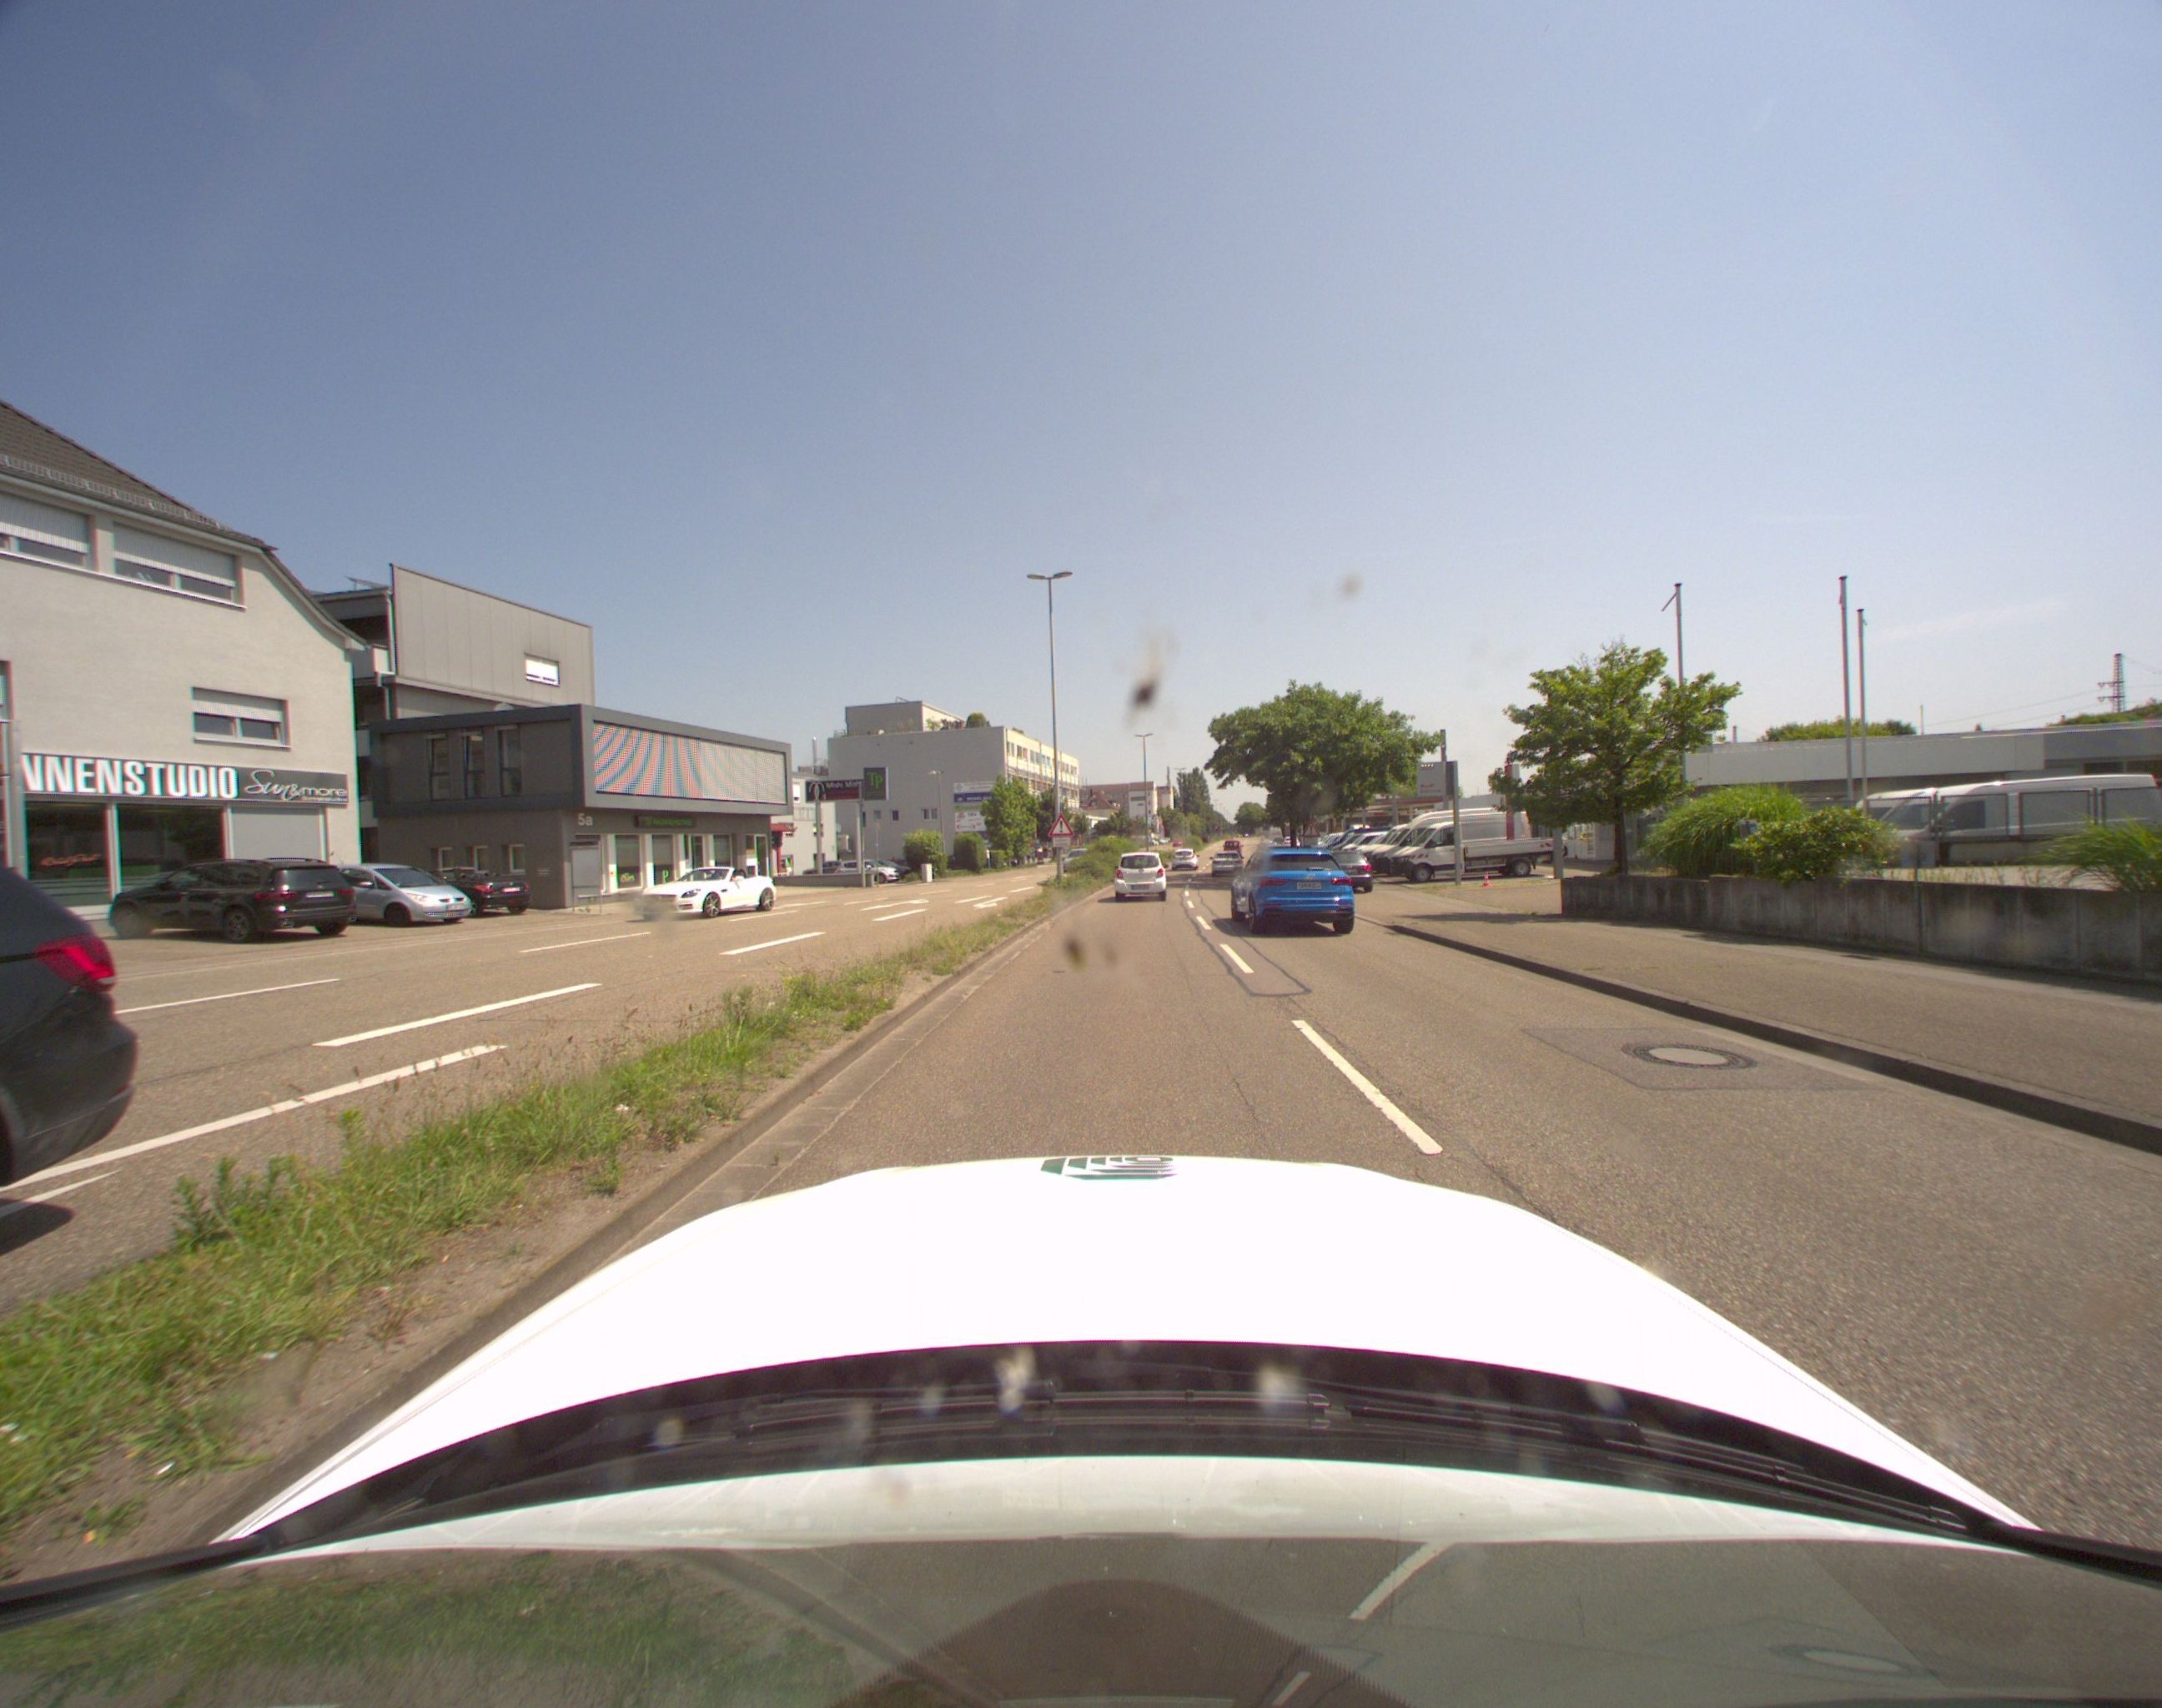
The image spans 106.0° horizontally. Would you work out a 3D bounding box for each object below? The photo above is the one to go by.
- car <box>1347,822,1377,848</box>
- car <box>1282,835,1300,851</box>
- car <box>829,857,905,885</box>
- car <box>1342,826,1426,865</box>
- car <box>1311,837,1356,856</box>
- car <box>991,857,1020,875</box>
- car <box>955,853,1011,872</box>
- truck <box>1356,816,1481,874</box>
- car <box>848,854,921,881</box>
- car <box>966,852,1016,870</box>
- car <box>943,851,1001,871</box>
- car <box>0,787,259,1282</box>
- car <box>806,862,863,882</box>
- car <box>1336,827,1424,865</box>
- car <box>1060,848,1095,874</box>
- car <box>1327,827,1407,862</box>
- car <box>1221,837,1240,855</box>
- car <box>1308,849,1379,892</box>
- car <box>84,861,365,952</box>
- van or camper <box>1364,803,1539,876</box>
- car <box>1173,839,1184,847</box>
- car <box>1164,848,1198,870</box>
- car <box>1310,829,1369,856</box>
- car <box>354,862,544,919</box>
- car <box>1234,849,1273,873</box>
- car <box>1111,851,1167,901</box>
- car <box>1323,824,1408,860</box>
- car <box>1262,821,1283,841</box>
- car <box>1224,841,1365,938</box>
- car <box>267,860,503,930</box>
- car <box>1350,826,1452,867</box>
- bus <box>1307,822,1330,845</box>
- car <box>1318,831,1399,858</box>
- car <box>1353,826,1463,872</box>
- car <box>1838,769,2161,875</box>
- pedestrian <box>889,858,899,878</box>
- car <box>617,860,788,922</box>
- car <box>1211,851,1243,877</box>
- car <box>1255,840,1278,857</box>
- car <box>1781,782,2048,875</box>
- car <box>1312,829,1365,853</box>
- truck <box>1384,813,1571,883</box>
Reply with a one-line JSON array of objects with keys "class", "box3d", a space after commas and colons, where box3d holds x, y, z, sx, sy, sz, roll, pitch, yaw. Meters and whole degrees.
[{"class": "car", "box3d": [31.657, -2.185, 91.852, 2.241, 2.675, 7.041, -3, 1, 12]}, {"class": "car", "box3d": [23.952, -1.267, 93.122, 1.656, 1.596, 4.628, -3, 1, 11]}, {"class": "car", "box3d": [-12.627, 1.003, 48.140, 3.967, 1.459, 1.578, -2, -1, 6]}, {"class": "car", "box3d": [18.737, -0.495, 50.588, 4.479, 2.013, 2.205, -5, -1, 12]}, {"class": "car", "box3d": [21.474, -0.658, 69.433, 3.602, 1.570, 1.724, -1, 1, 16]}, {"class": "car", "box3d": [-7.320, 1.132, 79.440, 1.649, 1.467, 3.810, -4, 1, 11]}, {"class": "car", "box3d": [-8.200, 0.712, 68.407, 4.197, 1.349, 1.986, -3, 1, 10]}, {"class": "truck", "box3d": [16.308, -0.441, 39.661, 5.211, 2.435, 2.119, -3, 0, 12]}, {"class": "car", "box3d": [-12.263, 0.812, 50.880, 3.969, 1.371, 1.675, -4, 1, 13]}, {"class": "car", "box3d": [-7.804, 0.599, 70.878, 3.814, 1.333, 1.865, -3, 1, 10]}, {"class": "car", "box3d": [-8.723, 0.540, 65.629, 4.124, 1.342, 2.048, -3, 1, 8]}, {"class": "car", "box3d": [-4.943, 0.631, 1.417, 1.899, 1.751, 4.767, -1, -1, 6]}, {"class": "car", "box3d": [-20.325, 1.464, 67.107, 3.952, 1.467, 1.967, -3, 1, 6]}, {"class": "car", "box3d": [19.578, -0.537, 53.562, 5.032, 2.096, 2.046, -4, 0, 10]}, {"class": "car", "box3d": [-0.203, 0.449, 55.572, 1.771, 1.629, 4.349, -3, 0, 7]}, {"class": "car", "box3d": [19.604, -0.659, 56.053, 4.869, 2.114, 2.135, -4, 1, 10]}, {"class": "car", "box3d": [15.110, -0.795, 82.532, 1.784, 1.729, 3.983, -1, 0, 9]}, {"class": "car", "box3d": [9.264, 0.547, 29.056, 1.786, 1.406, 4.332, -1, 0, 10]}, {"class": "car", "box3d": [-18.140, 1.046, 17.329, 4.577, 1.627, 1.859, 1, 1, 10]}, {"class": "van or camper", "box3d": [16.507, -0.633, 36.725, 6.754, 2.897, 2.282, -3, 1, 10]}, {"class": "car", "box3d": [18.475, -2.138, 154.419, 1.619, 1.424, 3.463, -5, 0, 13]}, {"class": "car", "box3d": [6.860, 0.359, 56.241, 1.824, 1.450, 3.999, -1, 0, 0]}, {"class": "car", "box3d": [22.767, -1.040, 71.921, 4.612, 2.013, 1.965, -4, 1, 9]}, {"class": "car", "box3d": [-17.993, 1.002, 23.303, 4.034, 1.521, 2.005, 0, 0, 8]}, {"class": "car", "box3d": [11.070, 0.418, 52.473, 1.675, 1.435, 4.442, -3, 0, 3]}, {"class": "car", "box3d": [1.952, 0.693, 26.668, 1.704, 1.511, 3.252, -1, -1, 6]}, {"class": "car", "box3d": [21.207, -0.873, 60.980, 5.802, 2.524, 2.213, -1, -1, 13]}, {"class": "car", "box3d": [29.253, -3.500, 124.357, 2.122, 2.839, 7.324, -5, 0, 7]}, {"class": "car", "box3d": [4.082, 0.620, 16.301, 1.904, 1.597, 4.400, -3, 0, 4]}, {"class": "car", "box3d": [-17.503, 0.994, 20.595, 4.584, 1.496, 1.755, 2, 1, 4]}, {"class": "car", "box3d": [17.610, -0.399, 45.039, 4.881, 1.971, 2.148, -3, 0, 11]}, {"class": "bus", "box3d": [34.408, -3.088, 118.192, 2.784, 3.078, 12.336, -1, 2, 15]}, {"class": "car", "box3d": [21.615, -0.735, 63.747, 5.852, 2.013, 2.268, -1, 0, 13]}, {"class": "car", "box3d": [16.913, -0.260, 42.413, 4.918, 2.113, 2.165, -2, 1, 10]}, {"class": "car", "box3d": [24.110, -0.754, 21.401, 5.844, 2.528, 2.128, -1, -1, 13]}, {"class": "pedestrian", "box3d": [-15.402, 1.154, 67.132, 0.542, 1.657, 0.627, -1, -1, 10]}, {"class": "car", "box3d": [-9.622, 0.895, 21.157, 1.793, 1.354, 4.368, -2, 0, 10]}, {"class": "car", "box3d": [8.138, 0.533, 45.224, 1.656, 1.399, 3.804, -1, 0, 11]}, {"class": "car", "box3d": [18.284, -0.553, 80.416, 1.723, 1.552, 4.188, -2, 1, 6]}, {"class": "car", "box3d": [24.445, -0.673, 24.141, 5.246, 2.536, 2.044, -1, -1, 12]}, {"class": "car", "box3d": [22.277, -1.111, 70.549, 4.124, 1.781, 1.887, -3, -1, 10]}, {"class": "truck", "box3d": [15.496, -0.239, 32.277, 6.203, 2.336, 2.377, -3, 1, 12]}]
